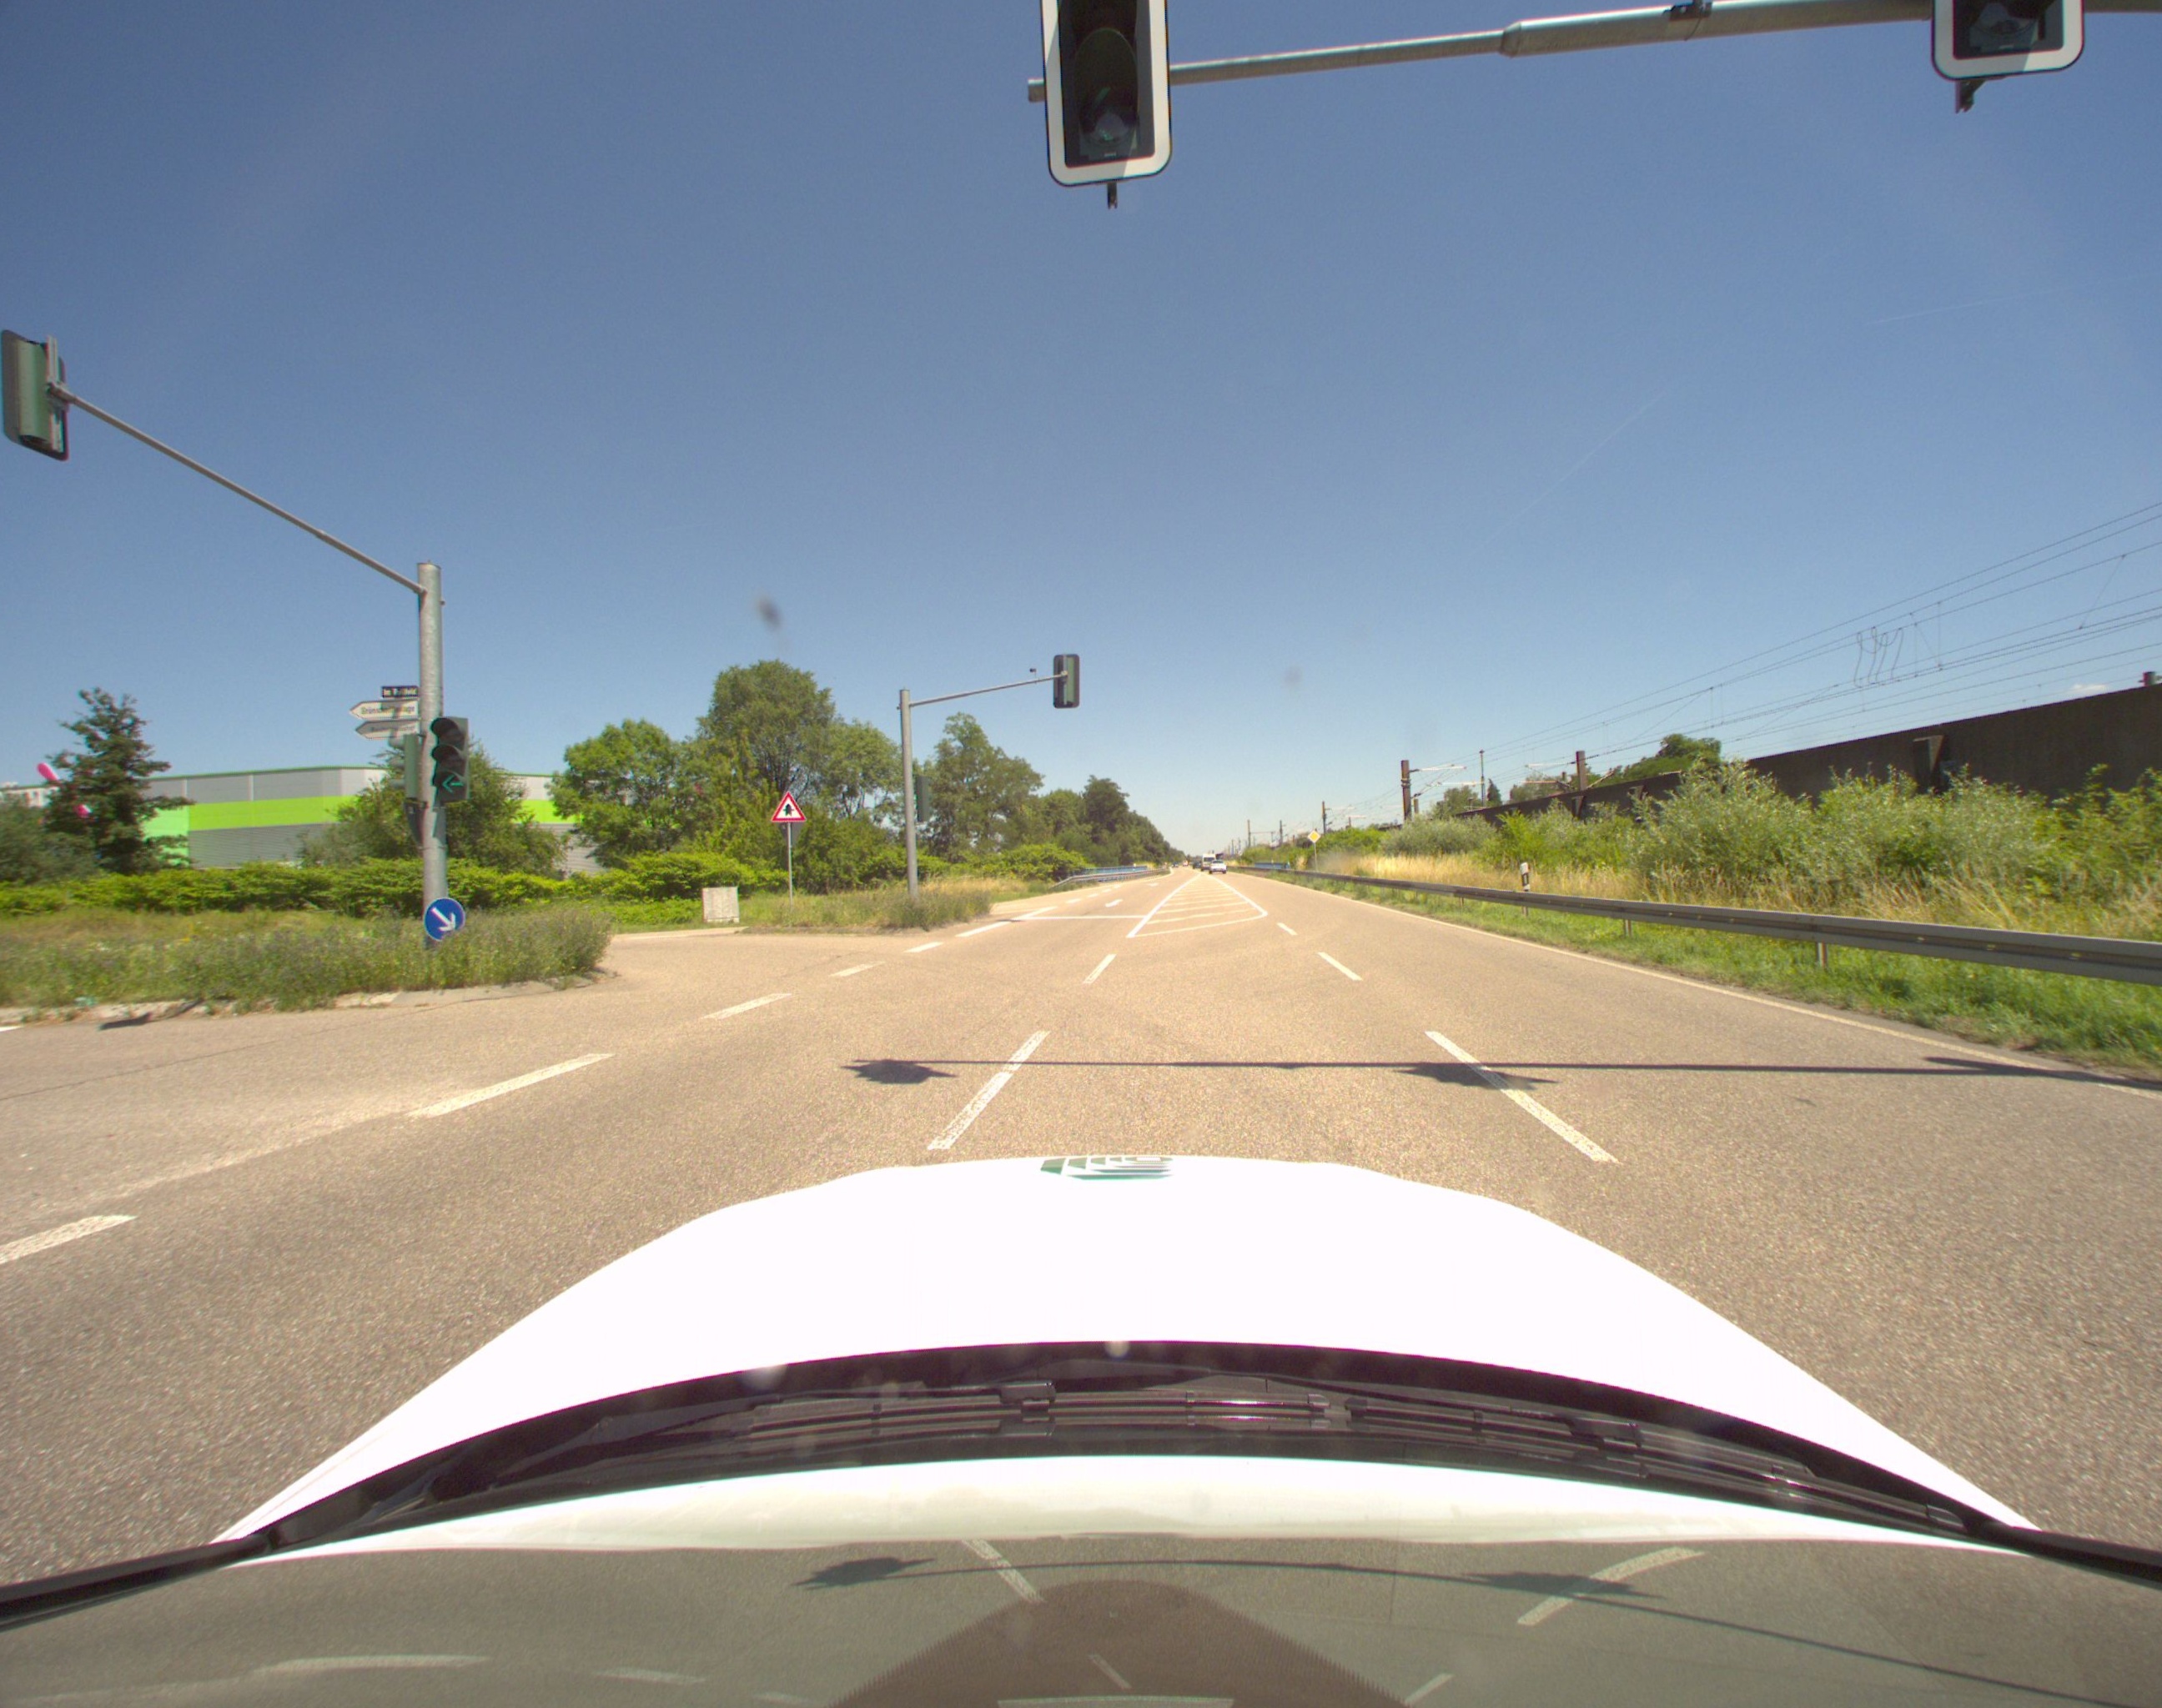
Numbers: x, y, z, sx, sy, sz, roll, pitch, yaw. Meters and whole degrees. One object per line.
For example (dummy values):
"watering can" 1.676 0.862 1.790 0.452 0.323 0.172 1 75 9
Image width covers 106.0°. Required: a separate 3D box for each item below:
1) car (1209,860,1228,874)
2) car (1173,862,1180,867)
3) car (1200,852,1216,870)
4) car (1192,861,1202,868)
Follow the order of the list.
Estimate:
"car" 15.486 1.466 91.672 1.809 1.564 4.285 -1 -1 6
"car" 26.668 2.843 227.265 1.847 1.379 4.512 -1 0 7
"car" 18.992 1.026 122.047 2.176 2.604 6.766 -1 0 8
"car" 22.993 2.053 161.189 1.847 1.379 4.512 -1 0 7
